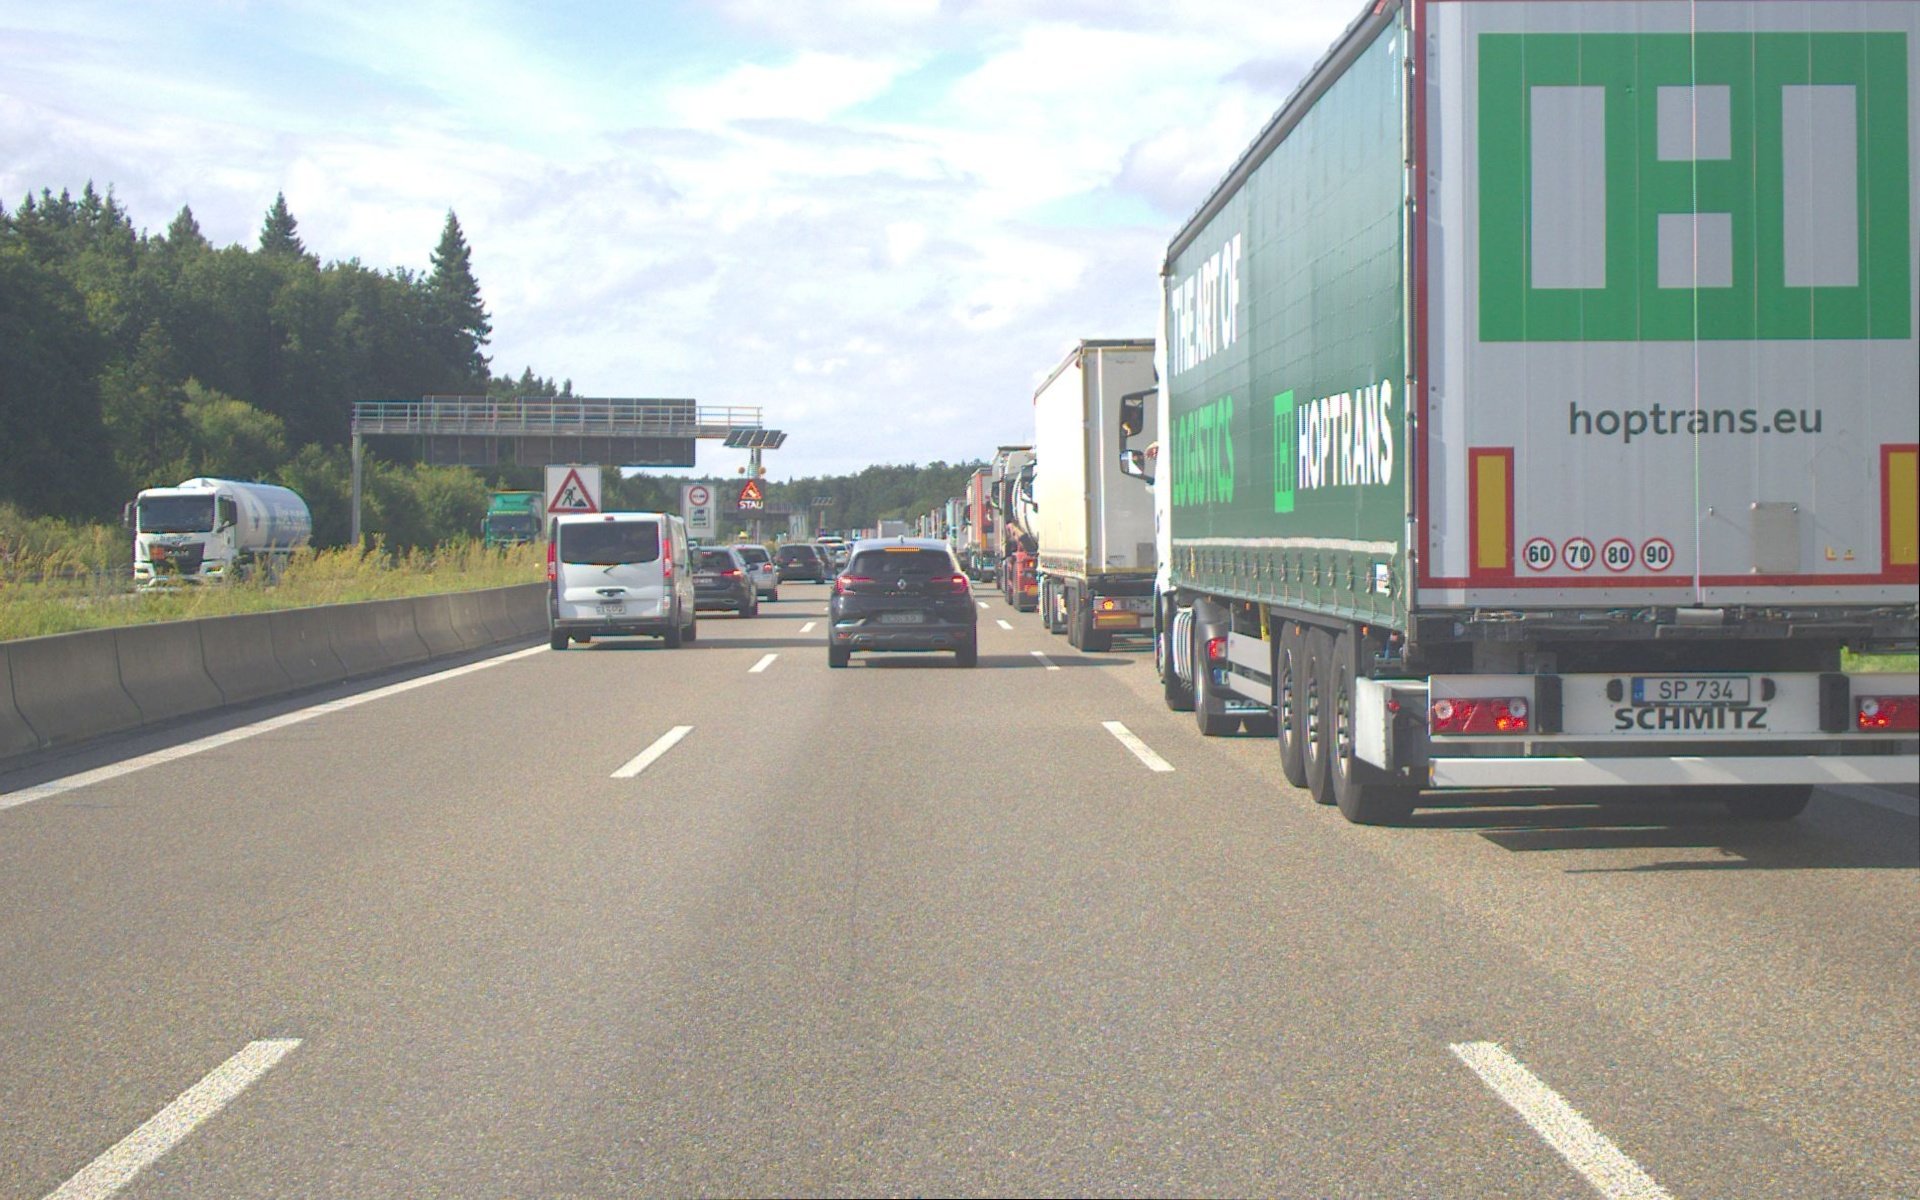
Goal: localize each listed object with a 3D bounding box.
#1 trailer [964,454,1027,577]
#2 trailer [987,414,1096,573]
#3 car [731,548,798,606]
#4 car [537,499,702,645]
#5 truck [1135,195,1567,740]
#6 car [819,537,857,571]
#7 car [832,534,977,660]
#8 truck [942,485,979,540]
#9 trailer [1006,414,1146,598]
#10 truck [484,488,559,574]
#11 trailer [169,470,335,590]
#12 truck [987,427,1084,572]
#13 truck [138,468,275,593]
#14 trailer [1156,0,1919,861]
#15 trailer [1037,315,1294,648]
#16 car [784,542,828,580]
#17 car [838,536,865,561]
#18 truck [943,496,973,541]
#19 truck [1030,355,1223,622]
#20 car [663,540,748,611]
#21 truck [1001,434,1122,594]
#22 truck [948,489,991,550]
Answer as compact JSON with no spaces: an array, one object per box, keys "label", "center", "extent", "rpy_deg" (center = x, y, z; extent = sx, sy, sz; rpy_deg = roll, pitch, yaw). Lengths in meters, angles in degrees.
[{"label":"trailer","center":[1.232,-2.970,122.523],"extent":[2.150,4.244,8.440],"rpy_deg":[0,1,0]},{"label":"trailer","center":[2.234,-2.940,97.991],"extent":[2.802,4.229,11.057],"rpy_deg":[-1,1,0]},{"label":"car","center":[-4.975,-0.596,87.692],"extent":[1.500,1.391,3.476],"rpy_deg":[3,1,-1]},{"label":"car","center":[-5.017,-0.434,51.296],"extent":[1.933,1.972,5.099],"rpy_deg":[3,1,-1]},{"label":"truck","center":[2.953,-0.987,27.881],"extent":[2.647,3.855,6.996],"rpy_deg":[0,1,-1]},{"label":"car","center":[-5.057,-1.908,142.538],"extent":[1.434,1.305,3.534],"rpy_deg":[3,1,-1]},{"label":"car","center":[-0.678,-0.057,42.409],"extent":[1.696,1.478,4.160],"rpy_deg":[0,1,-1]},{"label":"truck","center":[0.045,-5.095,199.879],"extent":[1.993,3.042,4.982],"rpy_deg":[3,1,0]},{"label":"trailer","center":[2.366,-1.935,73.536],"extent":[2.541,3.641,10.627],"rpy_deg":[0,1,0]},{"label":"truck","center":[-22.193,-3.481,174.537],"extent":[2.711,4.229,10.345],"rpy_deg":[-1,1,-1]},{"label":"trailer","center":[-20.174,-1.994,98.577],"extent":[2.321,3.273,10.876],"rpy_deg":[0,1,1]},{"label":"truck","center":[2.264,-3.006,104.520],"extent":[2.786,4.232,6.459],"rpy_deg":[-1,1,0]},{"label":"truck","center":[-20.239,-1.870,92.589],"extent":[2.317,3.262,6.105],"rpy_deg":[0,1,0]},{"label":"trailer","center":[3.004,-0.894,21.561],"extent":[2.661,3.855,13.395],"rpy_deg":[0,1,-1]},{"label":"trailer","center":[2.680,-1.592,48.896],"extent":[2.703,4.068,12.945],"rpy_deg":[-1,1,-1]},{"label":"car","center":[-5.557,-1.407,124.191],"extent":[1.434,1.305,3.534],"rpy_deg":[3,1,-1]},{"label":"car","center":[-5.861,-2.809,186.542],"extent":[1.361,1.296,3.085],"rpy_deg":[3,1,-1]},{"label":"truck","center":[-0.157,-5.756,243.733],"extent":[1.993,3.042,4.982],"rpy_deg":[3,1,0]},{"label":"truck","center":[2.611,-1.746,55.690],"extent":[2.708,4.046,6.362],"rpy_deg":[-1,1,-1]},{"label":"car","center":[-5.106,-0.507,69.306],"extent":[1.500,1.391,3.476],"rpy_deg":[0,1,-1]},{"label":"truck","center":[2.308,-1.968,80.158],"extent":[2.533,3.571,6.730],"rpy_deg":[0,1,-1]},{"label":"truck","center":[0.446,-4.030,172.602],"extent":[1.993,2.922,4.982],"rpy_deg":[3,1,0]}]
